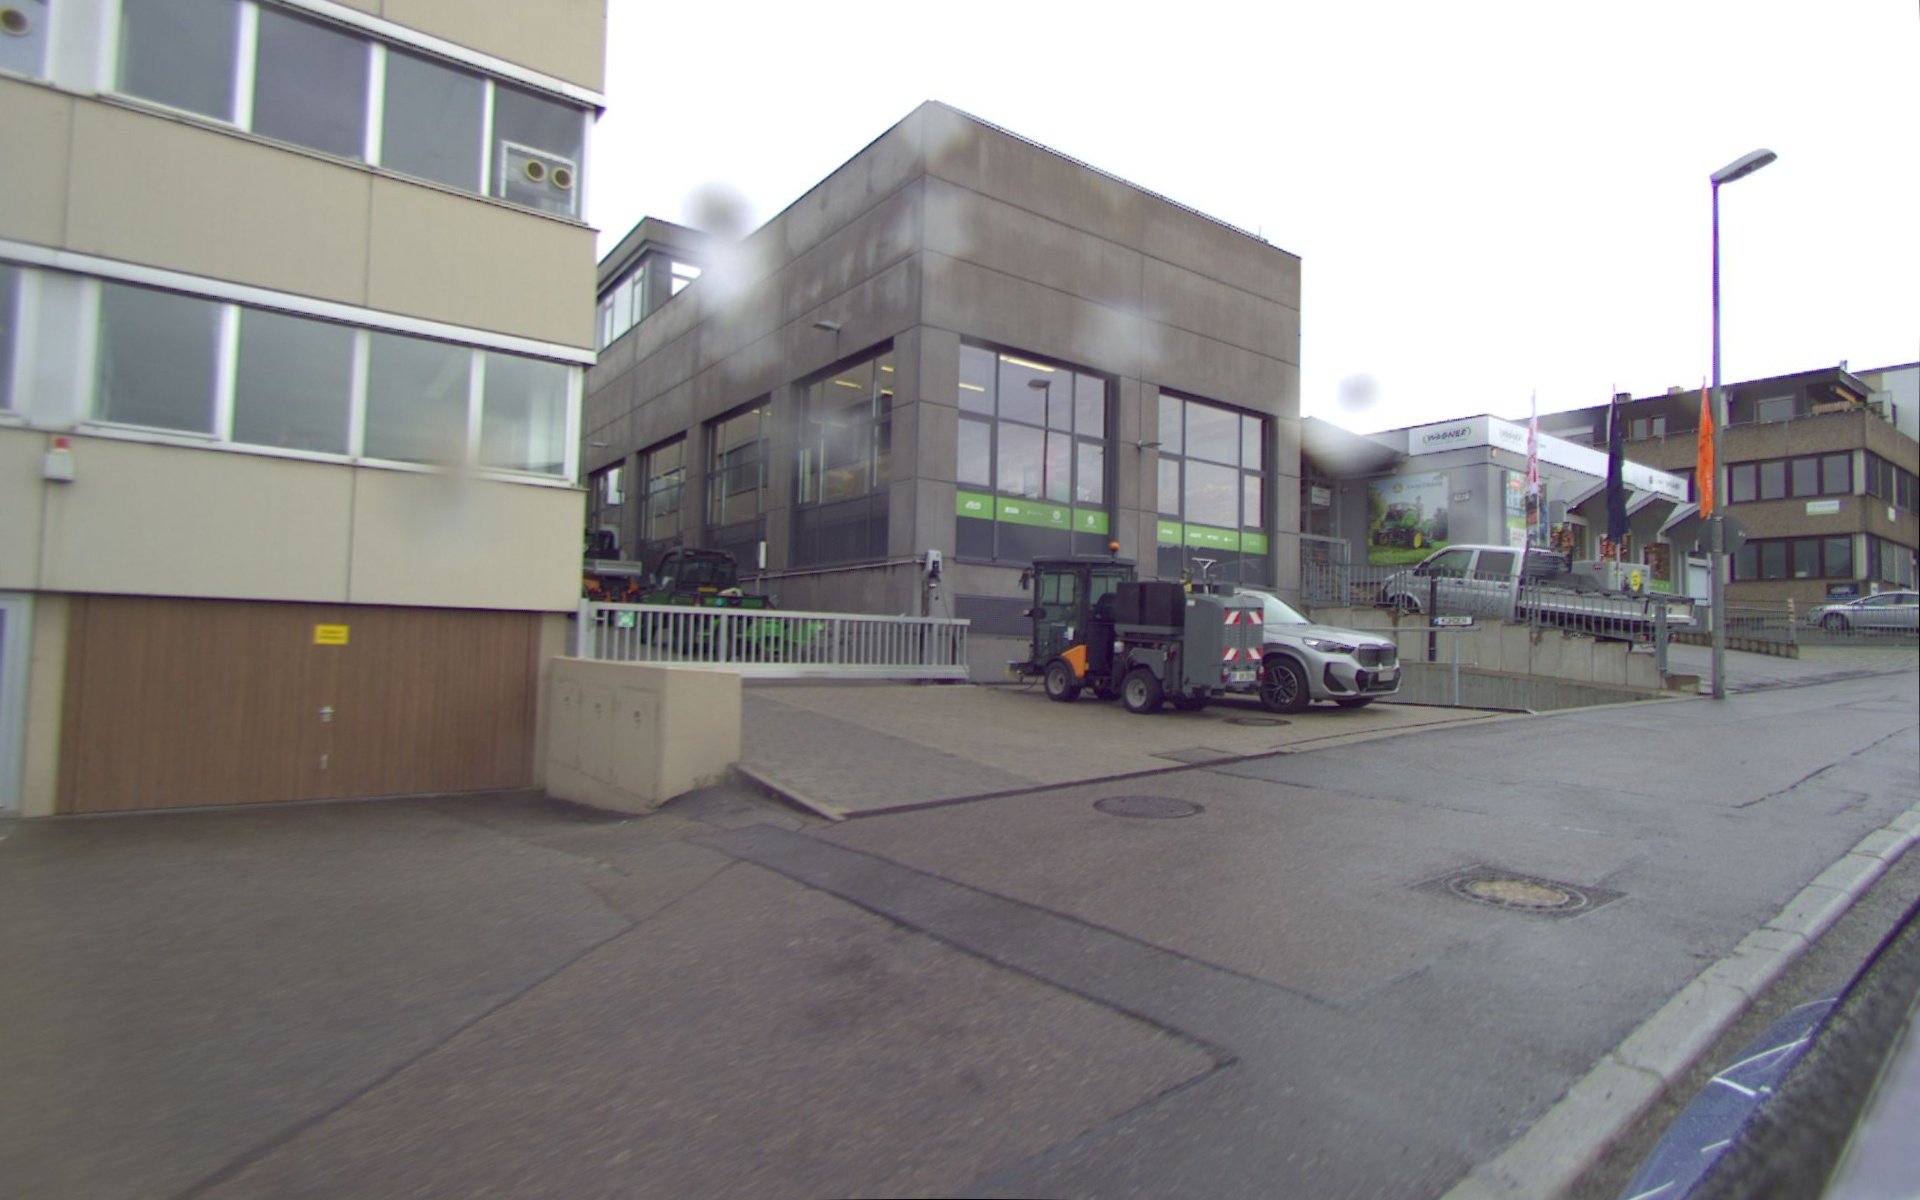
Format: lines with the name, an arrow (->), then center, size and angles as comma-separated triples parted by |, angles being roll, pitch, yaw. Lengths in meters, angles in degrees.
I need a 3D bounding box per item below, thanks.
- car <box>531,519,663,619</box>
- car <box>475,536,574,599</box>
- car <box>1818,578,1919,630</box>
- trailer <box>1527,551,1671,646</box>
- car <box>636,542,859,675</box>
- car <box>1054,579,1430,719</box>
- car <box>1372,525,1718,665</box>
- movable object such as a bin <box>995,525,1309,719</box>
car -> -9.680, -0.932, 26.541 | 1.956, 2.282, 6.813 | -1, 4, -31
car -> -13.767, -1.056, 31.864 | 1.963, 1.776, 4.001 | 0, 4, -37
car -> 31.048, 0.107, 33.144 | 1.966, 1.593, 4.133 | -1, 2, -36
trailer -> 17.766, -0.005, 28.089 | 4.226, 2.448, 1.893 | 1, -1, -35
car -> -3.919, 0.052, 17.943 | 1.863, 1.874, 4.908 | 5, 1, -37
car -> 3.743, 0.567, 14.435 | 1.889, 1.634, 5.105 | 0, 0, -37
car -> 11.190, -0.252, 19.853 | 2.179, 2.036, 5.323 | -1, 8, -34
movable object such as a bin -> 2.331, 0.239, 13.354 | 1.449, 2.137, 4.267 | 0, 0, -35
